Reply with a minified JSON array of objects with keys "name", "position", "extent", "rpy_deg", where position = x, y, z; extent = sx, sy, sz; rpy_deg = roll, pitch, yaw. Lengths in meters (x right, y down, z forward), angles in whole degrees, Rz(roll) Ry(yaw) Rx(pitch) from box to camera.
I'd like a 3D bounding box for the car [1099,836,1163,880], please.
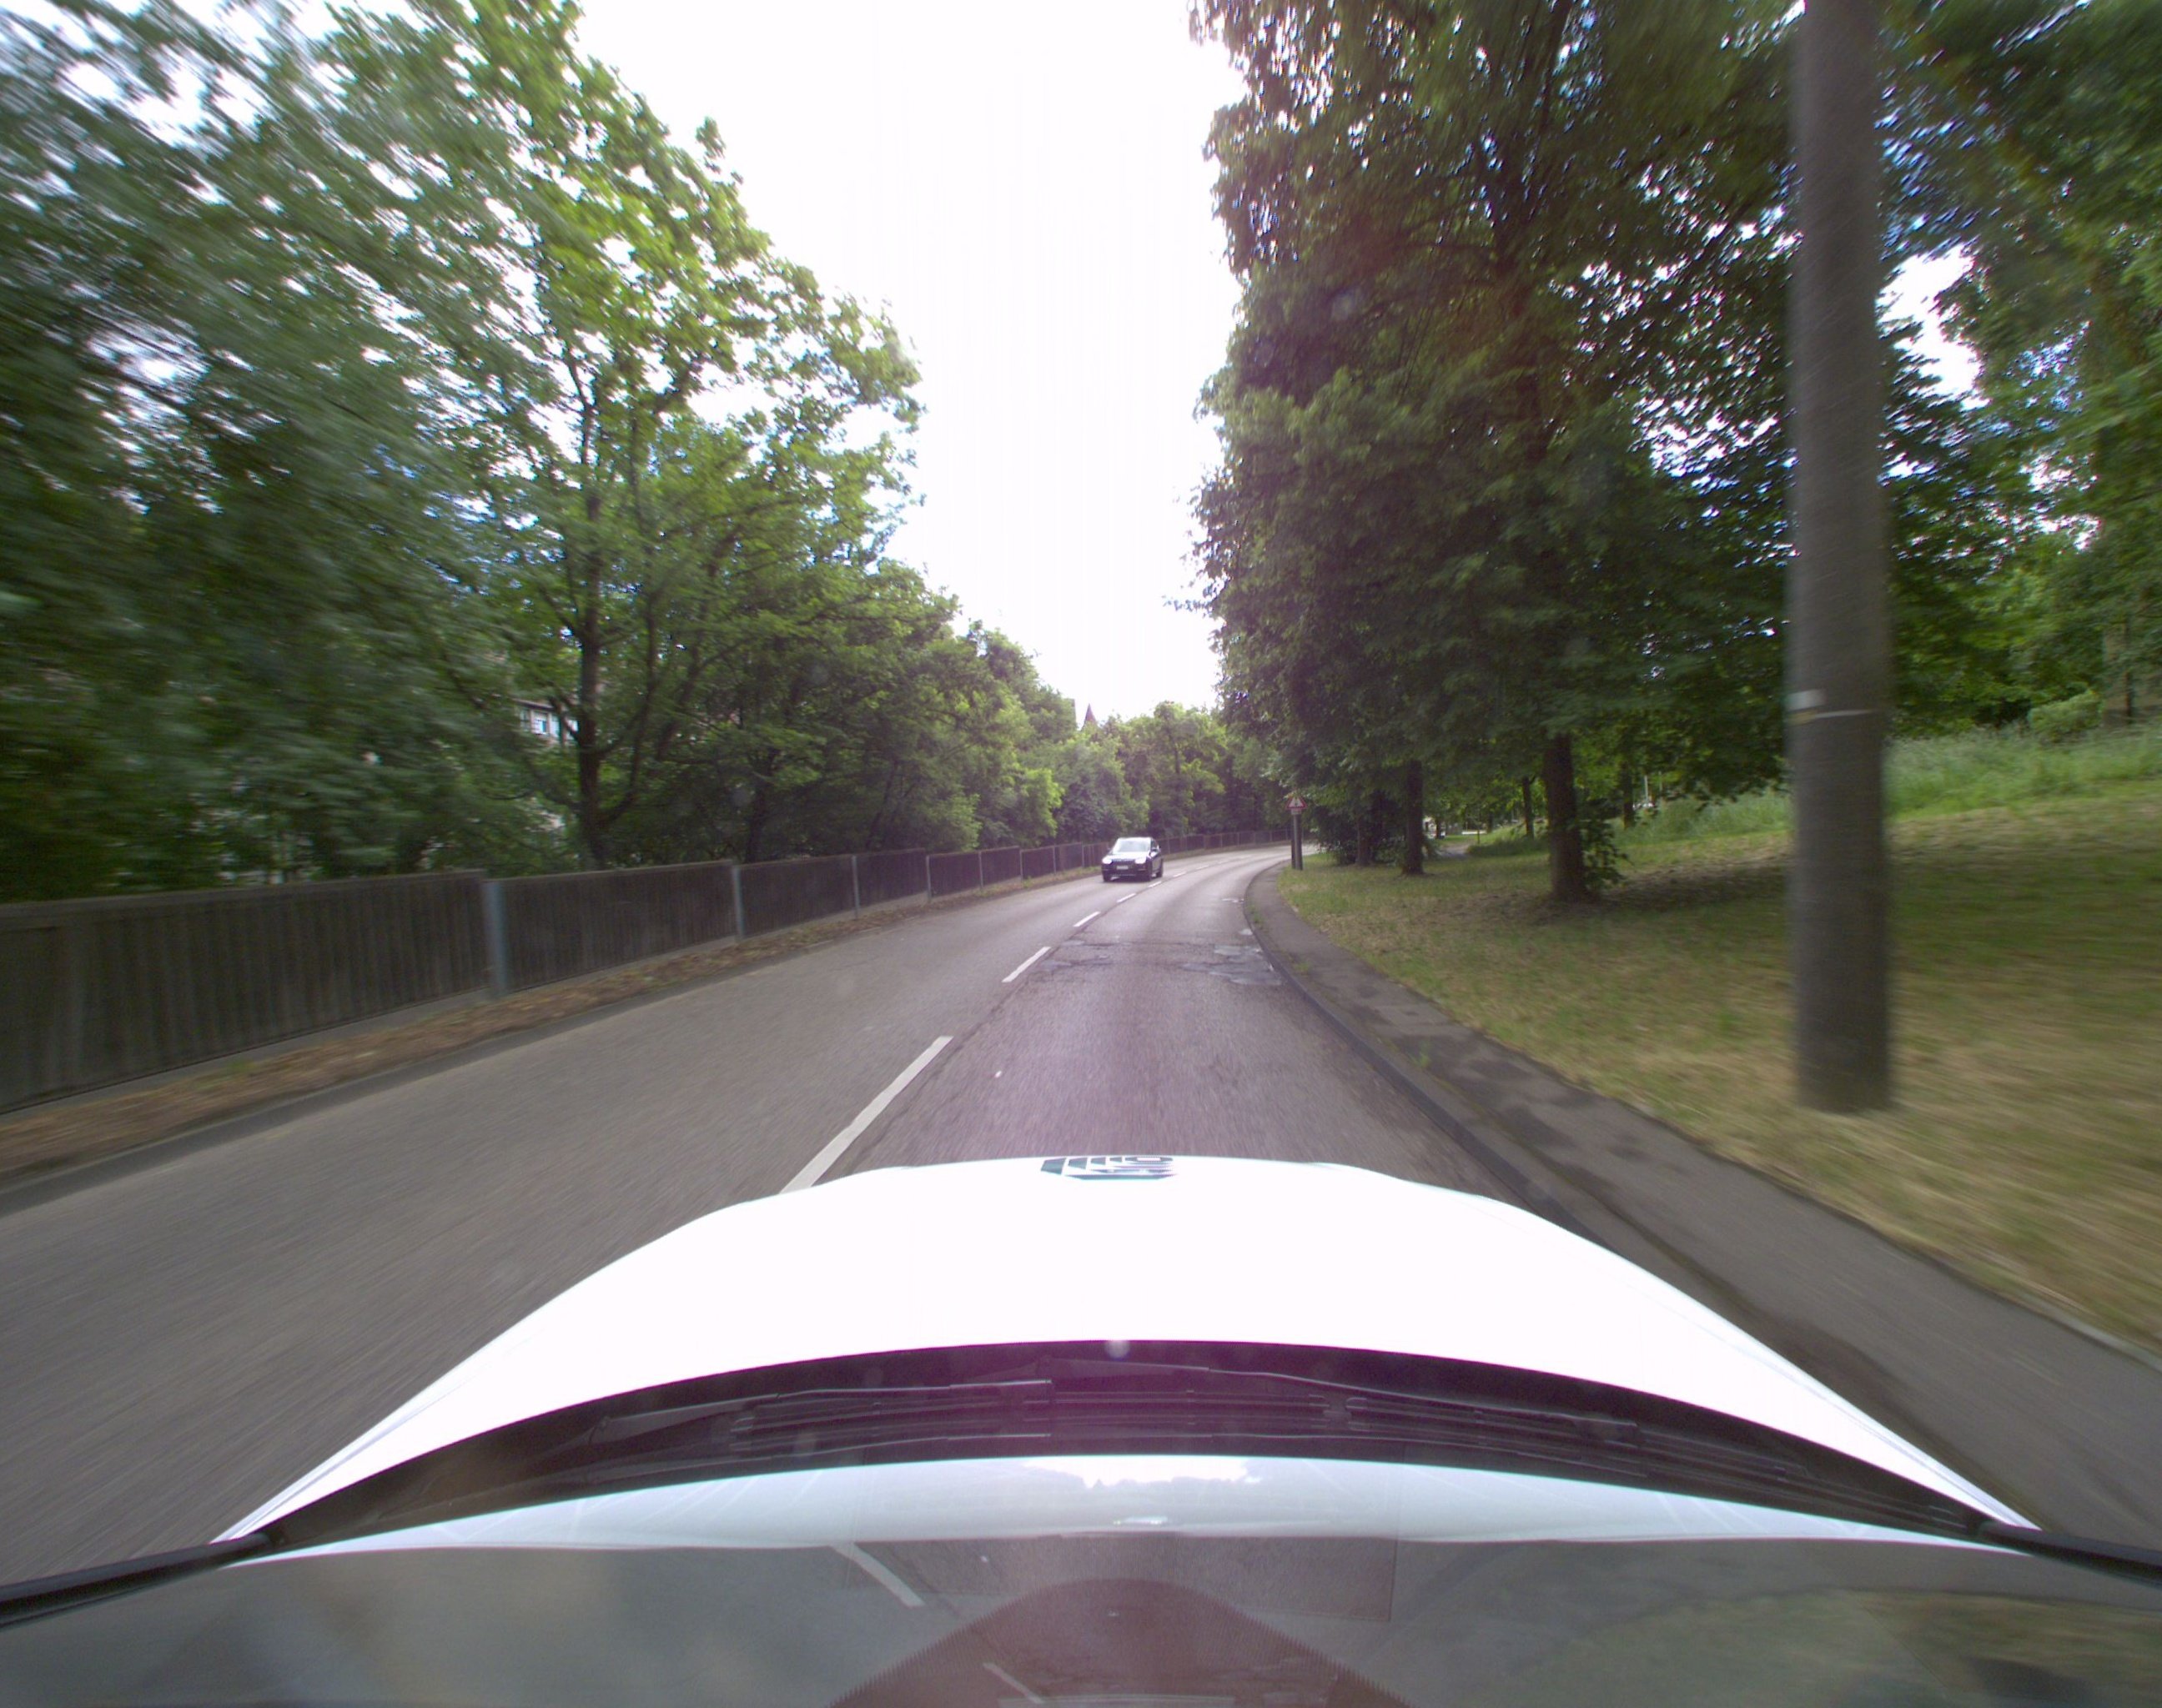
[{"name":"car","position":[2.005,0.109,31.610],"extent":[1.833,1.564,4.248],"rpy_deg":[-1,1,12]}]
